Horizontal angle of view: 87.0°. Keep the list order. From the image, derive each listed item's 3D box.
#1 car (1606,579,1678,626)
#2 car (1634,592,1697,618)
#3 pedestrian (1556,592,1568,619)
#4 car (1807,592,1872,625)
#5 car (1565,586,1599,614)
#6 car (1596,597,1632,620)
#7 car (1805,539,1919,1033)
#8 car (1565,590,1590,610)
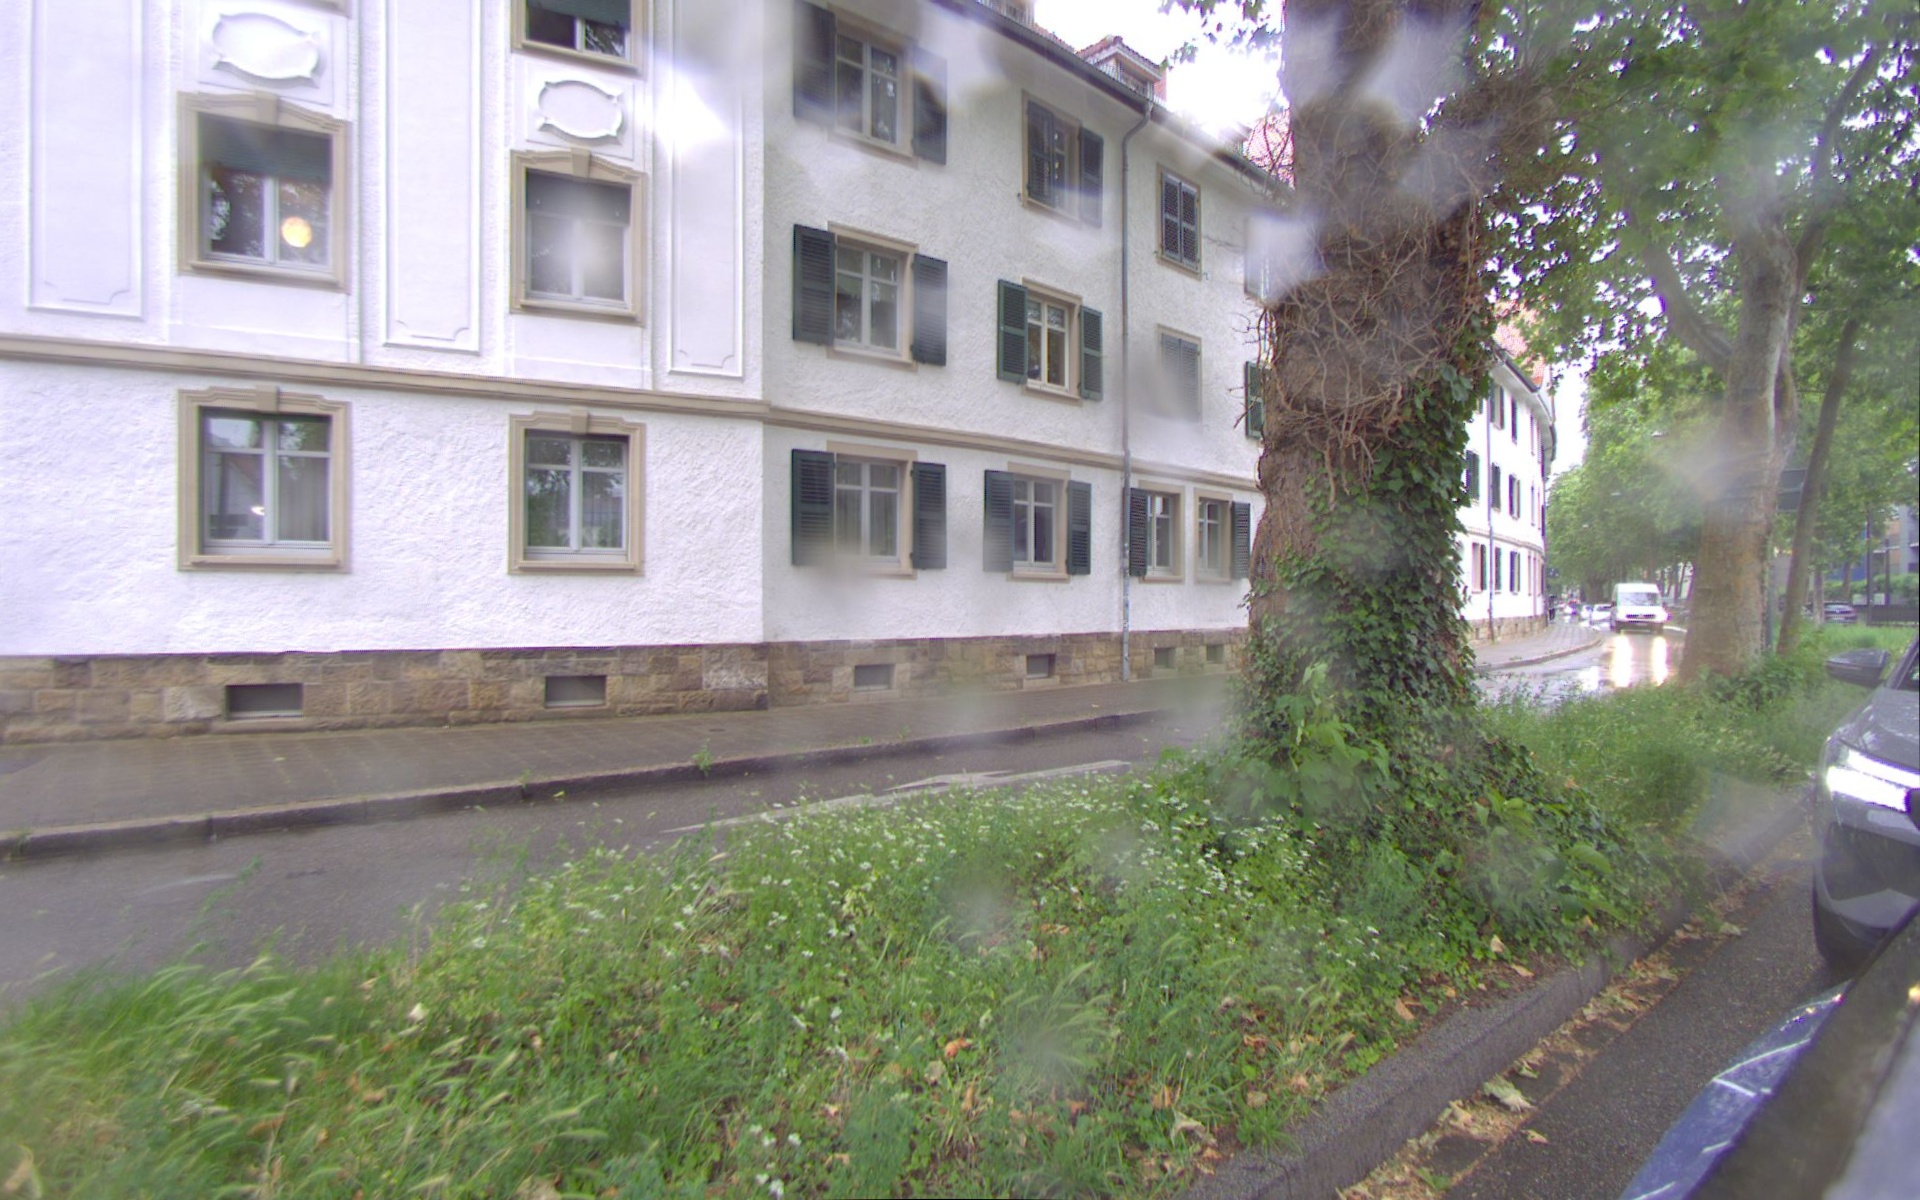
[{"bbox_3d":[35.131,0.098,52.295,2.173,2.292,5.366,0,0,24],"label":"car"},{"bbox_3d":[55.909,0.383,80.299,3.969,2.039,1.977,0,-1,32],"label":"car"},{"bbox_3d":[40.929,0.350,68.847,0.668,1.845,0.672,0,0,31],"label":"pedestrian"},{"bbox_3d":[47.711,0.436,54.992,1.794,1.704,4.554,0,0,30],"label":"car"},{"bbox_3d":[50.808,-0.043,82.746,1.983,2.038,3.961,5,3,28],"label":"car"},{"bbox_3d":[45.139,0.575,69.886,1.816,1.545,3.959,0,0,29],"label":"car"},{"bbox_3d":[5.140,0.617,4.318,4.039,1.662,1.913,0,0,-44],"label":"car"},{"bbox_3d":[69.034,-0.042,113.195,1.983,2.038,3.961,5,3,28],"label":"car"}]
